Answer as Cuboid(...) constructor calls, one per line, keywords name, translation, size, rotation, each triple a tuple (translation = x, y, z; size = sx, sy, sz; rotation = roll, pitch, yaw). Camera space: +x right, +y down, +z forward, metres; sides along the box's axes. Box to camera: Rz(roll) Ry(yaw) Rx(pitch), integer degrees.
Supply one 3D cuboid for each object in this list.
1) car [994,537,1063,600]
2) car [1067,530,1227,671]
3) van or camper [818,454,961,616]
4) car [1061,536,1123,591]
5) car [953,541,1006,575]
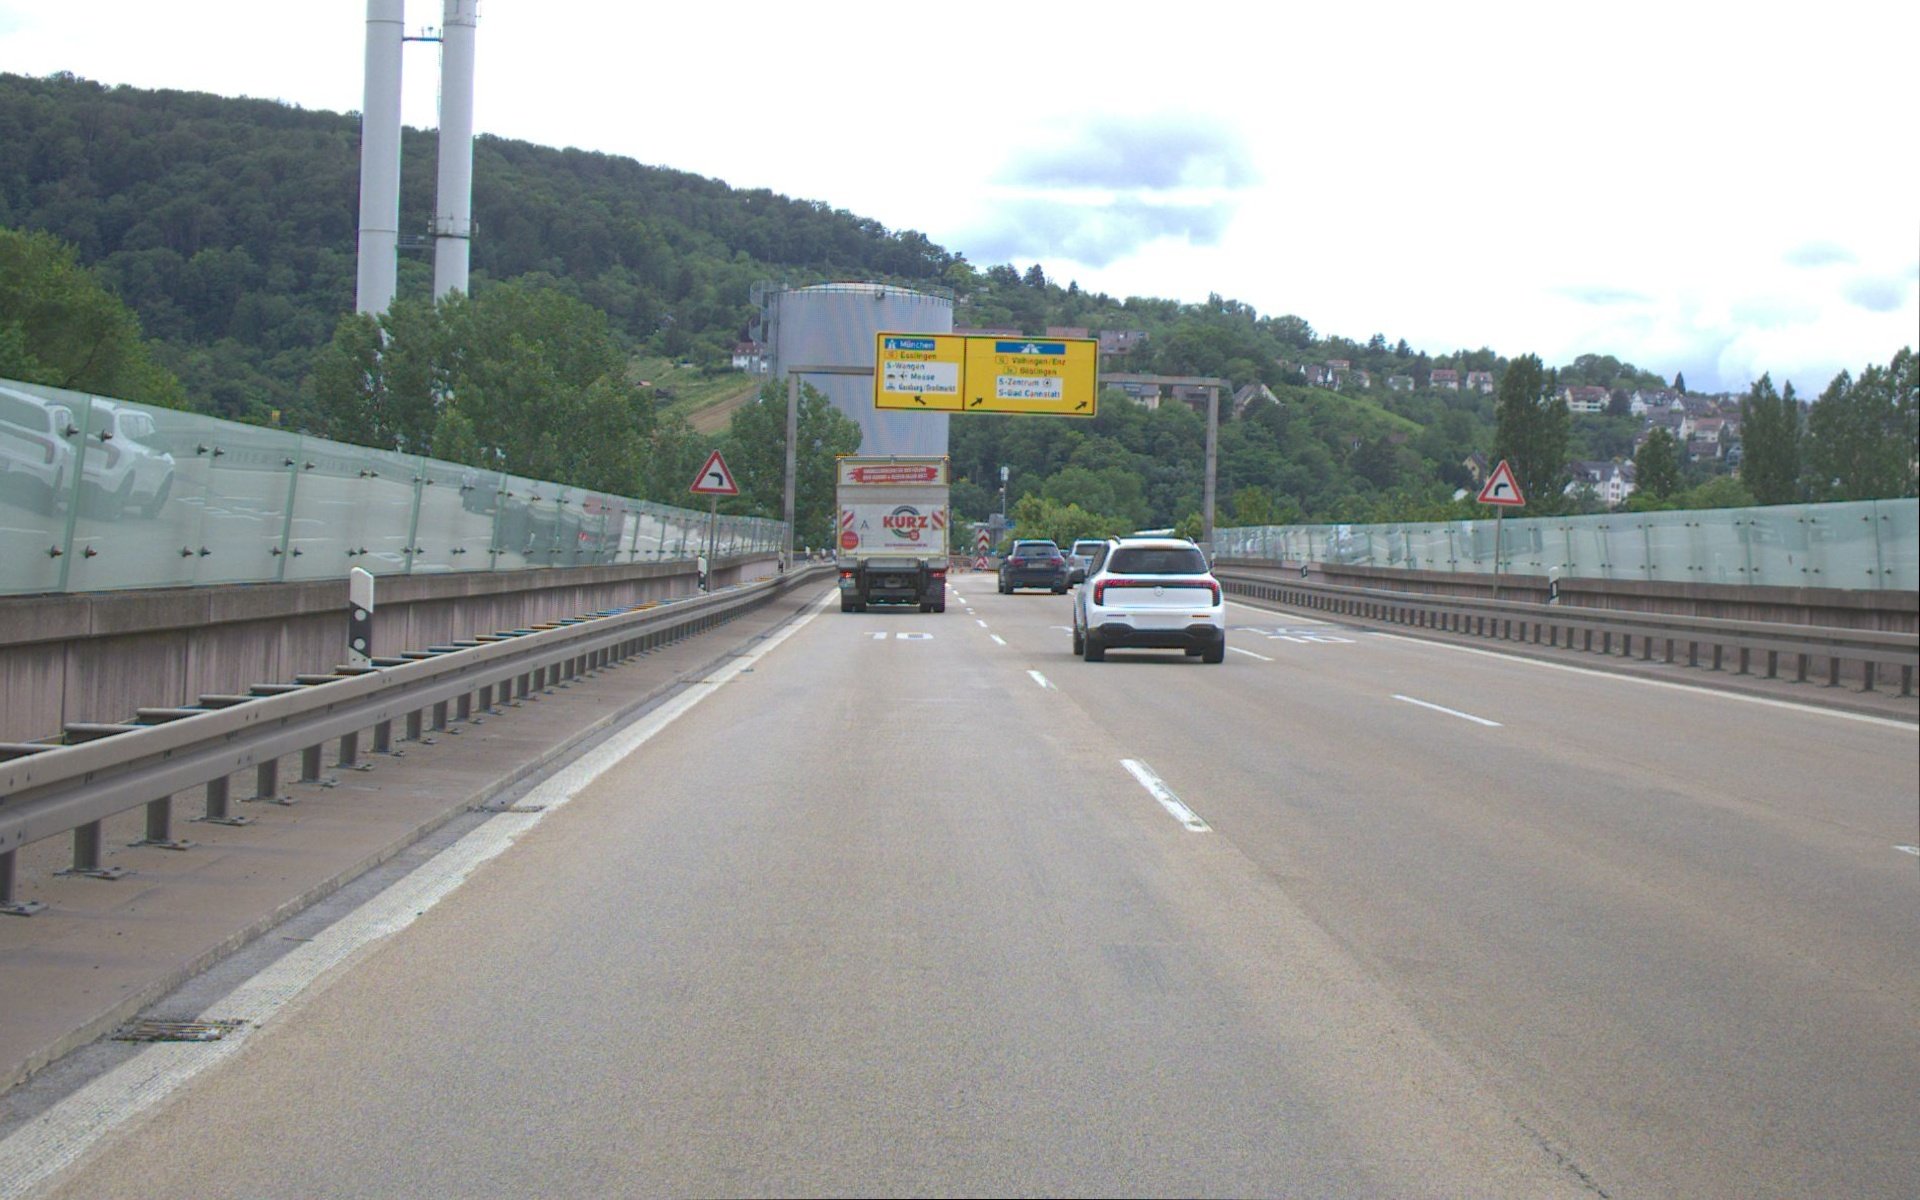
Cuboid(name="car", translation=(2.040, -0.960, 103.266), size=(1.924, 1.779, 4.113), rotation=(1, 2, 0))
Cuboid(name="car", translation=(2.518, -0.036, 47.143), size=(1.924, 1.779, 4.113), rotation=(1, 2, 0))
Cuboid(name="van or camper", translation=(-1.567, -1.520, 80.917), size=(3.122, 3.567, 8.550), rotation=(1, 1, 0))
Cuboid(name="car", translation=(4.519, -1.274, 117.956), size=(1.924, 1.779, 4.113), rotation=(1, 2, 0))
Cuboid(name="car", translation=(1.190, -2.549, 206.171), size=(2.474, 1.973, 5.159), rotation=(1, 1, 8))
